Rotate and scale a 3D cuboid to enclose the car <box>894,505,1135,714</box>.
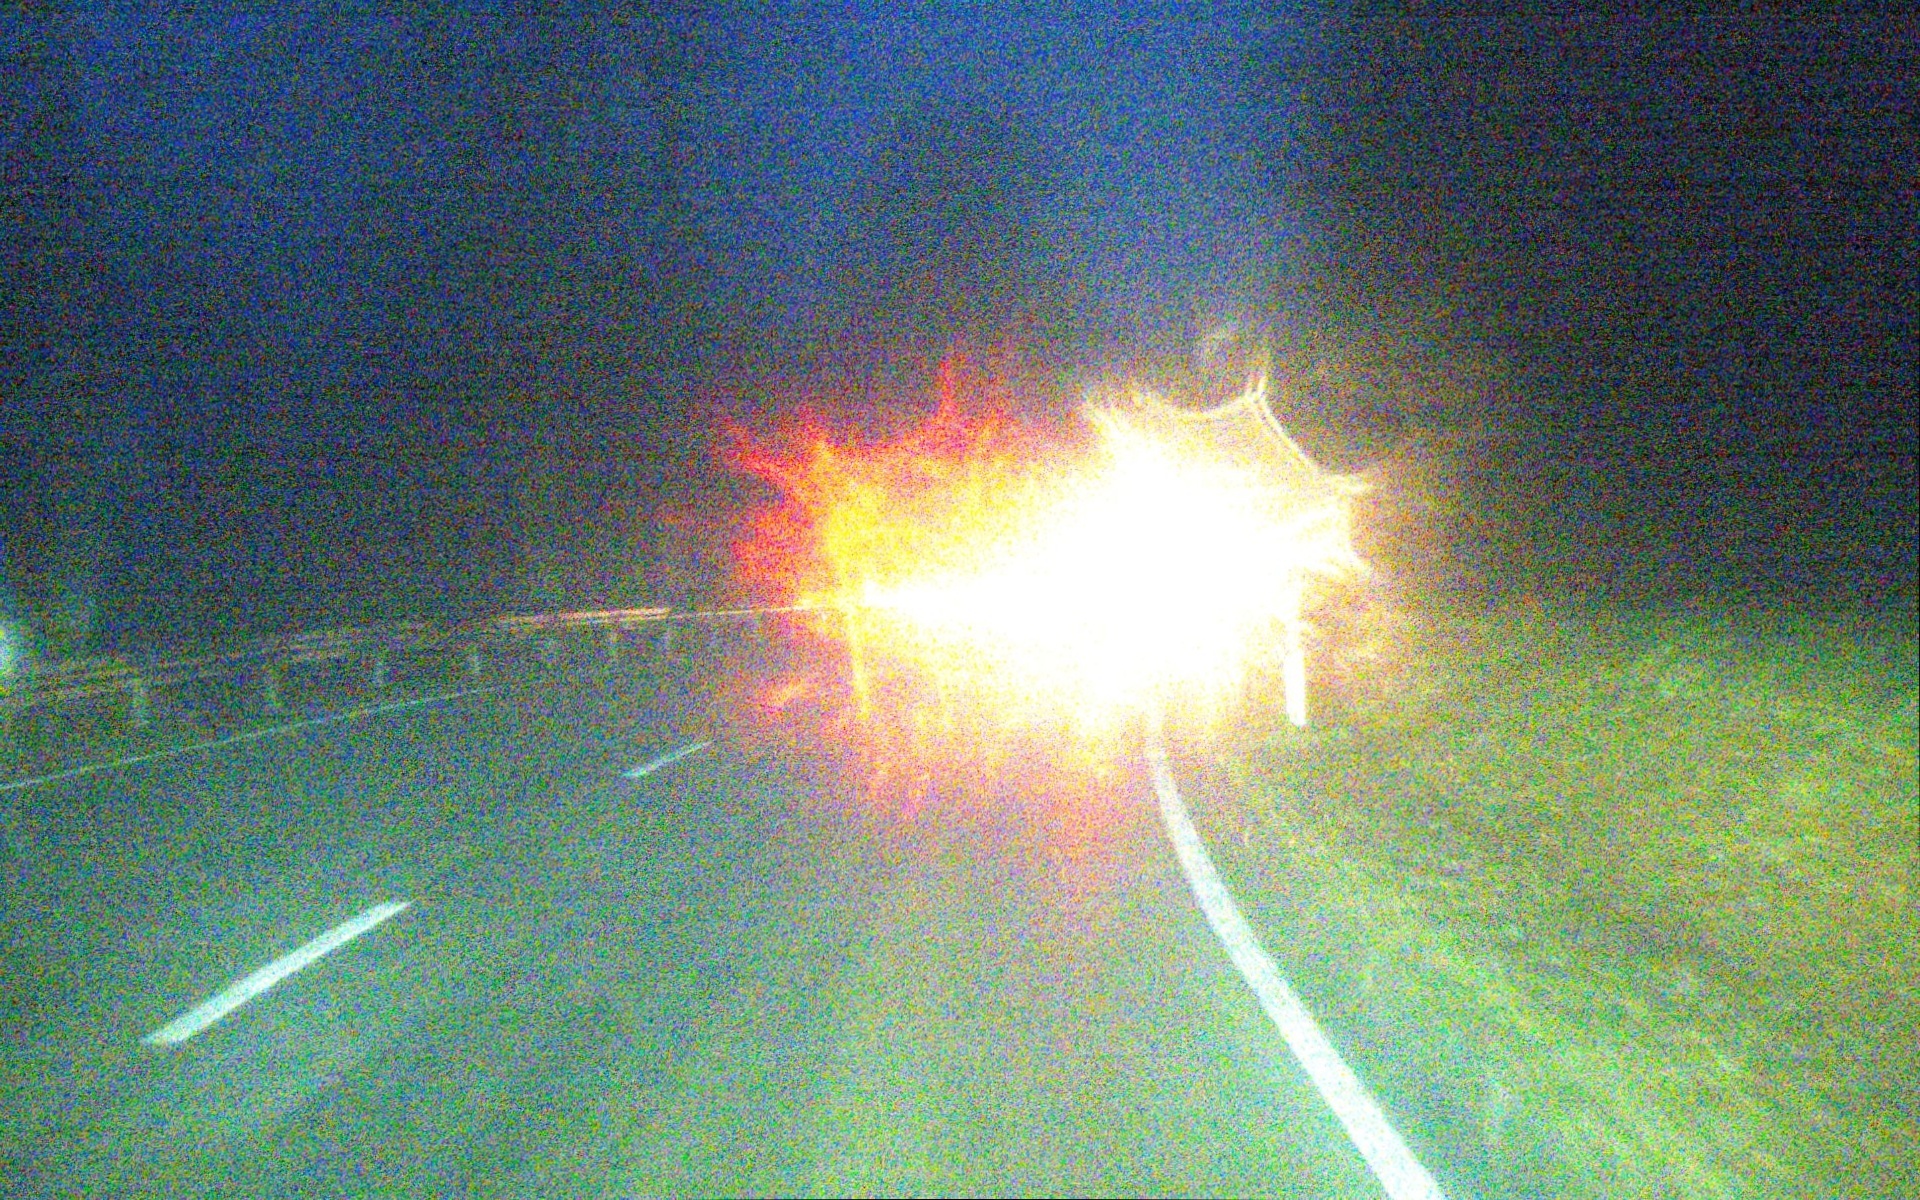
[{"bbox_3d":[0.600,0.040,33.668,1.994,1.800,3.917,-3,2,5],"label":"car"}]
